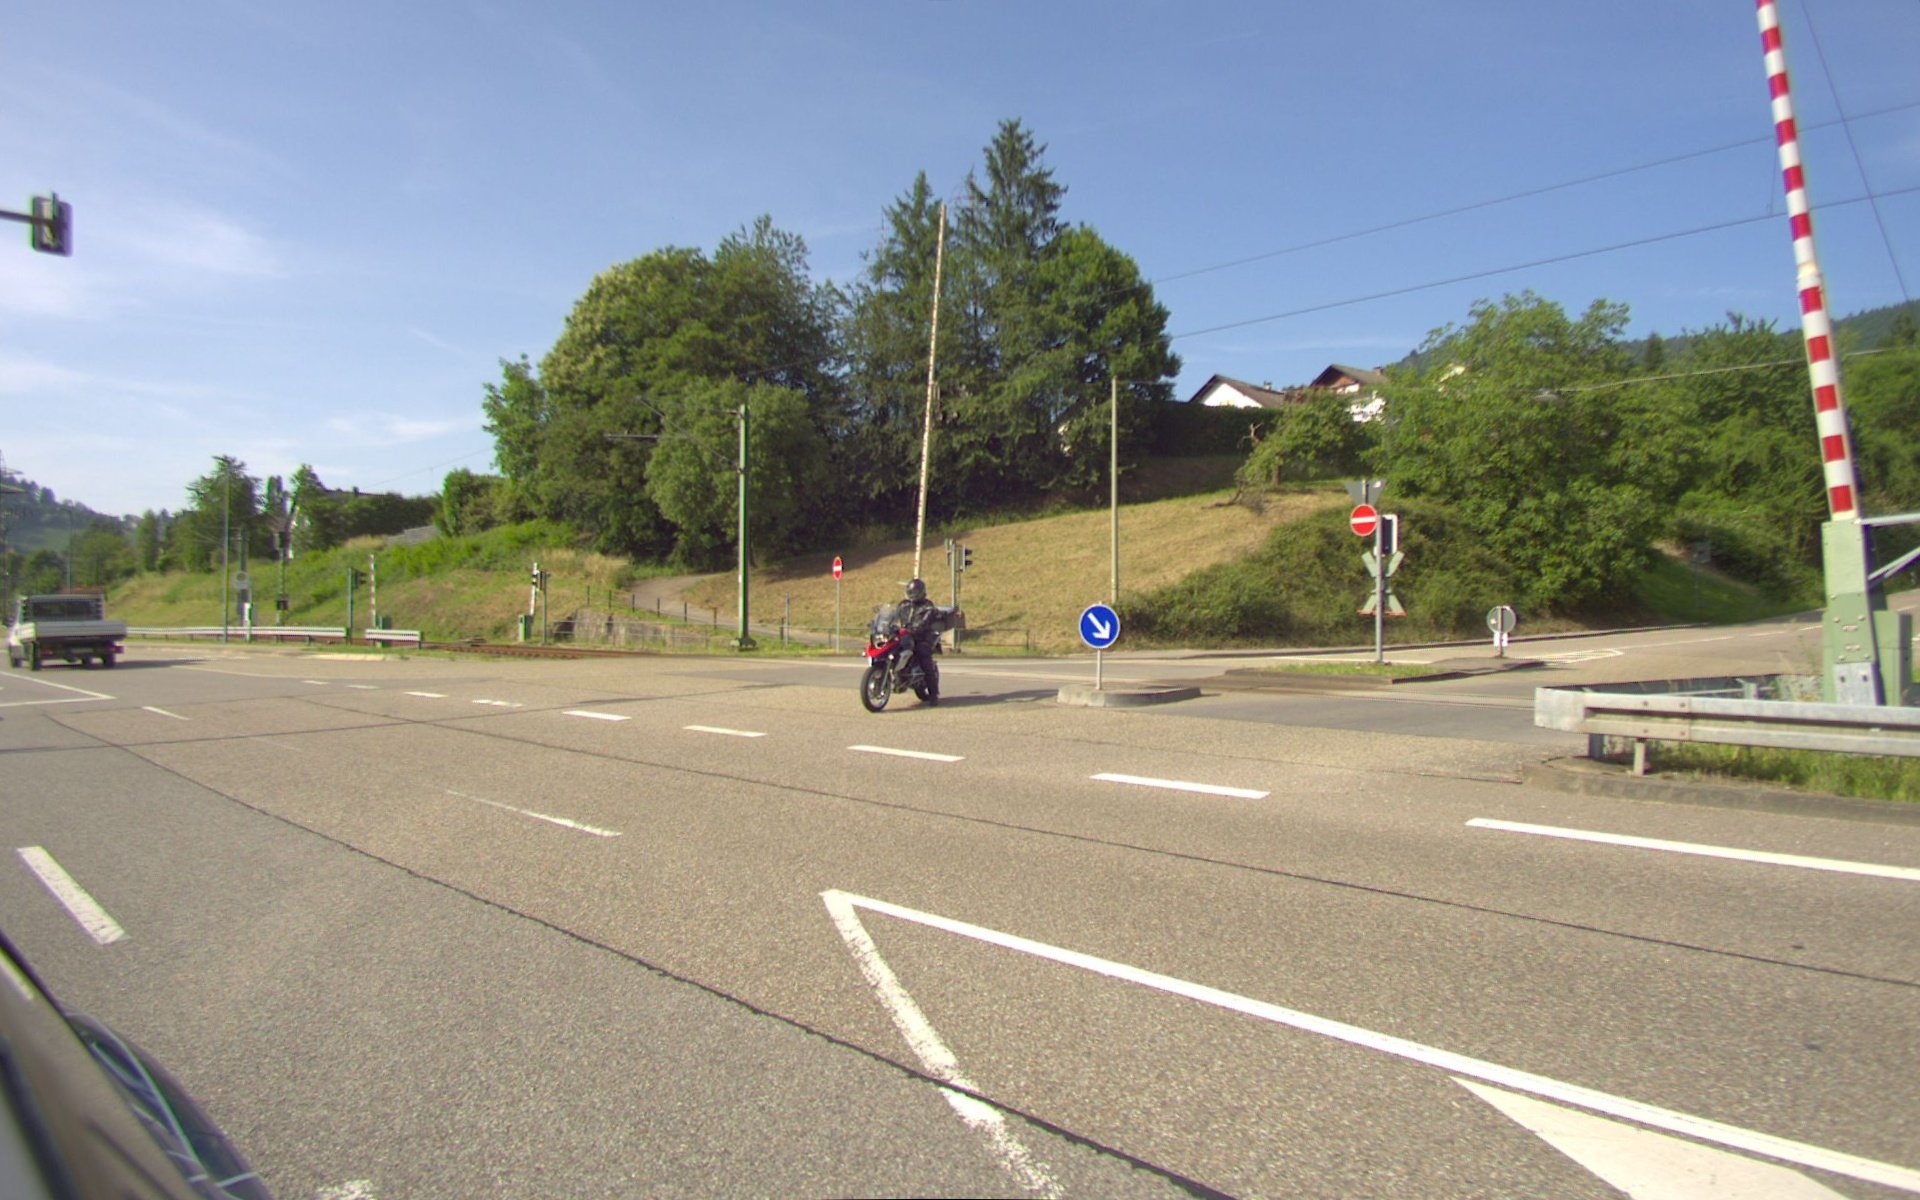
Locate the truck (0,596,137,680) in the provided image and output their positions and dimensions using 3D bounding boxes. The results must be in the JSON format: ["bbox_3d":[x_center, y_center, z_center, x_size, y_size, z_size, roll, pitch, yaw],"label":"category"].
[{"bbox_3d":[-27.433,1.088,30.866,6.274,2.283,2.423,-1,0,39],"label":"truck"}]

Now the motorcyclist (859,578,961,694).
[{"bbox_3d":[-0.692,0.480,14.402,0.986,1.555,1.176,-1,1,26],"label":"motorcyclist"}]

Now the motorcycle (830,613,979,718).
[{"bbox_3d":[-0.718,0.859,14.332,1.000,1.278,2.571,-1,0,25],"label":"motorcycle"}]
